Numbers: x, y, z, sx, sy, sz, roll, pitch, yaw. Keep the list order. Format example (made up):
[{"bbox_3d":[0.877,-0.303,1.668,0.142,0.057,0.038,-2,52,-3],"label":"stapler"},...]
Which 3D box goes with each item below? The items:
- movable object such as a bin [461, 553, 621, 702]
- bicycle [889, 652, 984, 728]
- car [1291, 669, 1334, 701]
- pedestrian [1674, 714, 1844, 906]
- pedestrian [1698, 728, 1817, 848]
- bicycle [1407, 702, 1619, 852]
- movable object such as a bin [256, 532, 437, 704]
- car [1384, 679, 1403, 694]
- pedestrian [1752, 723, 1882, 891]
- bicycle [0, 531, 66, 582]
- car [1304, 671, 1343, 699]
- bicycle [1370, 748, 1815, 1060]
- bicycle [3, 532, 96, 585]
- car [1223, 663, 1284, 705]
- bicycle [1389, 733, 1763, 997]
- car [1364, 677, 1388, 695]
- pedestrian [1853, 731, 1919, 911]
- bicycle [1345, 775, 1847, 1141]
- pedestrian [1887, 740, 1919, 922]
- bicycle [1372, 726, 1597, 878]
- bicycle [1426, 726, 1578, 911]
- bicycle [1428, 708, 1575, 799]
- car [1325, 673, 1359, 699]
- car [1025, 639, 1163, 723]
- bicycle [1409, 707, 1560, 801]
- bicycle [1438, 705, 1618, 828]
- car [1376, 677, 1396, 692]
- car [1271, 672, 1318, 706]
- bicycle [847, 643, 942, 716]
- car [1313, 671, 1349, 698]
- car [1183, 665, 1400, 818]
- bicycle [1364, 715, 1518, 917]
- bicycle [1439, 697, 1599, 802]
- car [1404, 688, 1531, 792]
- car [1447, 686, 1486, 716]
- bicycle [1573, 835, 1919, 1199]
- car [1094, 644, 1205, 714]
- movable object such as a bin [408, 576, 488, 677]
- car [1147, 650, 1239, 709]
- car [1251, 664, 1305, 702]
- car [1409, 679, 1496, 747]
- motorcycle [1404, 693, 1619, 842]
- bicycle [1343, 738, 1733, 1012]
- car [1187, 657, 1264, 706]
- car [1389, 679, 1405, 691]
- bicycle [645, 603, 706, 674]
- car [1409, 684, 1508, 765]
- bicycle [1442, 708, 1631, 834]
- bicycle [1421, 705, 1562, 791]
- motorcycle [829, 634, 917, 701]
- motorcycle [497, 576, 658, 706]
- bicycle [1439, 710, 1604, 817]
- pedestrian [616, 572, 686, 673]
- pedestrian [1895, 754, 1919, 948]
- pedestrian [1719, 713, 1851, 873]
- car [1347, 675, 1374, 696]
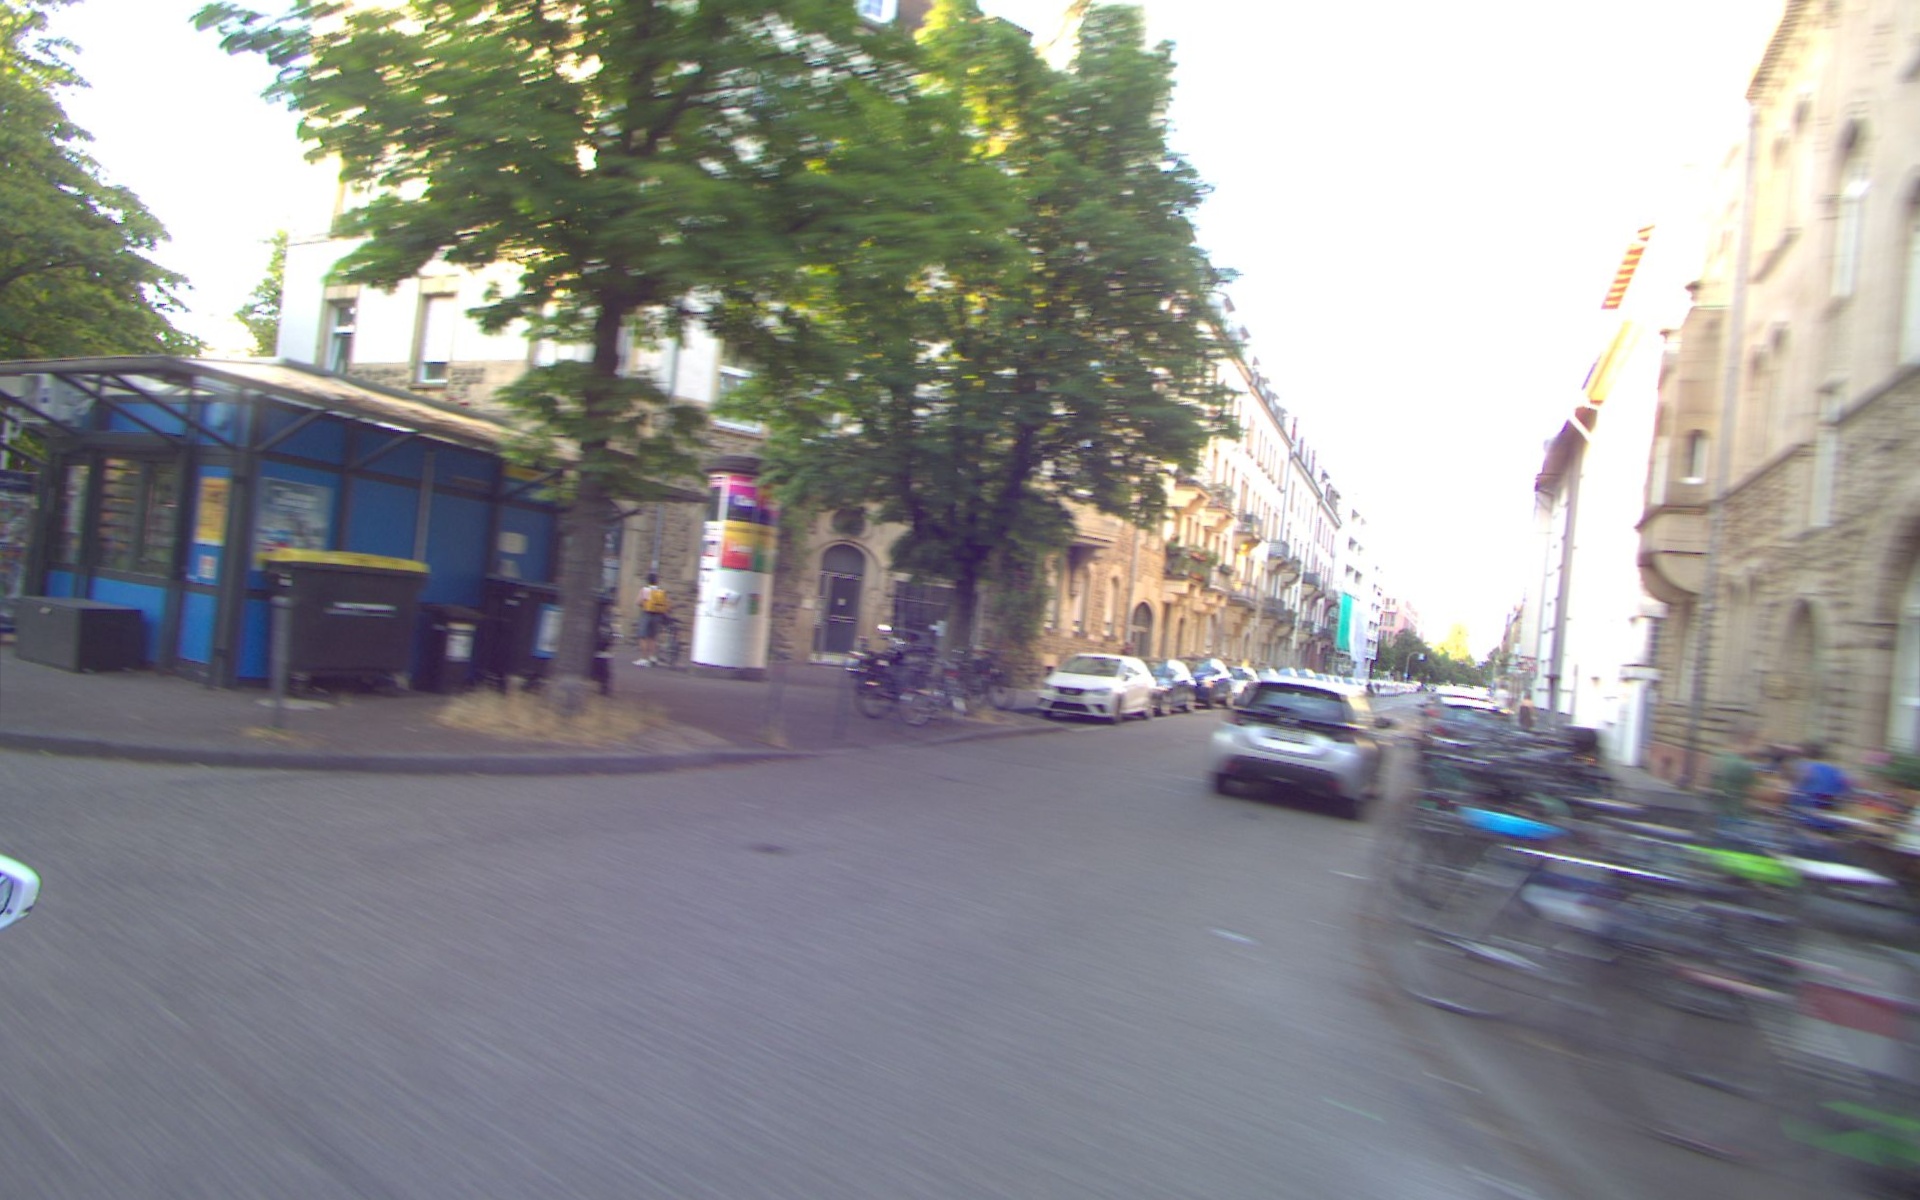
[{"bbox_3d":[-4.836,0.338,11.678,0.807,1.491,1.284,6,-4,35],"label":"movable object such as a bin"},{"bbox_3d":[-0.322,1.344,15.101,0.569,1.008,1.738,6,-1,27],"label":"bicycle"},{"bbox_3d":[20.313,4.918,57.868,1.794,1.500,4.128,6,-3,25],"label":"car"},{"bbox_3d":[6.804,1.756,8.611,0.779,1.421,0.716,6,0,10],"label":"pedestrian"},{"bbox_3d":[9.673,2.252,12.245,0.808,1.241,0.926,6,-1,23],"label":"pedestrian"},{"bbox_3d":[5.867,1.857,10.790,1.800,1.278,0.585,6,0,19],"label":"bicycle"},{"bbox_3d":[-5.847,0.168,9.629,0.754,1.495,1.221,6,2,35],"label":"movable object such as a bin"},{"bbox_3d":[54.526,10.867,126.438,1.794,1.500,4.127,6,-3,27],"label":"car"},{"bbox_3d":[8.125,1.929,9.575,0.758,1.413,0.617,4,-1,31],"label":"pedestrian"},{"bbox_3d":[-22.014,-1.041,23.657,1.577,1.052,0.432,6,0,5],"label":"bicycle"},{"bbox_3d":[22.766,5.333,62.904,1.794,1.500,4.128,6,-3,25],"label":"car"},{"bbox_3d":[3.193,1.460,5.231,1.808,1.079,0.511,6,-1,40],"label":"bicycle"},{"bbox_3d":[-21.716,-0.995,24.003,1.863,1.052,0.432,6,0,5],"label":"bicycle"},{"bbox_3d":[12.664,3.621,43.217,1.794,1.500,4.128,6,-3,25],"label":"car"},{"bbox_3d":[3.686,1.515,6.137,1.808,1.125,0.501,6,-1,40],"label":"bicycle"},{"bbox_3d":[41.654,8.615,100.592,1.794,1.500,4.127,6,-3,27],"label":"car"},{"bbox_3d":[7.926,1.814,8.181,0.724,1.374,0.592,6,0,23],"label":"pedestrian"},{"bbox_3d":[2.630,1.411,4.326,1.681,0.991,0.446,6,-1,40],"label":"bicycle"},{"bbox_3d":[7.601,1.782,7.532,0.655,1.337,0.731,6,0,23],"label":"pedestrian"},{"bbox_3d":[5.079,1.924,9.866,0.585,1.091,1.819,7,-1,-33],"label":"bicycle"},{"bbox_3d":[4.440,1.733,8.379,0.528,1.175,1.836,6,-1,13],"label":"bicycle"},{"bbox_3d":[8.058,2.265,15.043,1.801,1.041,0.545,6,0,24],"label":"bicycle"},{"bbox_3d":[27.333,6.161,71.917,1.794,1.500,4.128,6,-3,25],"label":"car"},{"bbox_3d":[3.089,1.831,22.445,1.794,1.500,3.907,6,-3,26],"label":"car"},{"bbox_3d":[7.513,2.197,14.509,1.801,1.041,0.545,6,0,24],"label":"bicycle"},{"bbox_3d":[7.060,2.046,12.591,1.801,1.209,0.545,6,0,24],"label":"bicycle"},{"bbox_3d":[49.732,9.866,117.349,1.794,1.500,4.127,6,-3,27],"label":"car"},{"bbox_3d":[17.706,4.739,53.128,1.794,1.500,4.128,6,-3,25],"label":"car"},{"bbox_3d":[-0.973,1.217,15.452,0.569,1.008,1.738,6,-1,27],"label":"bicycle"},{"bbox_3d":[24.842,5.698,67.303,1.794,1.500,4.128,6,-3,25],"label":"car"},{"bbox_3d":[4.357,1.673,12.783,1.852,1.400,4.033,6,-2,28],"label":"car"},{"bbox_3d":[3.587,1.547,7.653,0.547,1.165,1.836,6,-1,13],"label":"bicycle"},{"bbox_3d":[7.767,2.054,14.070,1.801,1.152,0.591,6,0,23],"label":"bicycle"},{"bbox_3d":[9.522,2.552,18.856,1.795,1.500,3.905,6,-3,28],"label":"car"},{"bbox_3d":[30.263,6.023,60.104,1.795,1.501,3.902,6,-1,29],"label":"car"},{"bbox_3d":[2.567,1.365,2.837,0.425,1.052,1.472,6,-1,-14],"label":"bicycle"},{"bbox_3d":[5.106,2.129,26.715,1.794,1.500,4.004,6,-3,26],"label":"car"},{"bbox_3d":[-5.448,0.287,10.711,0.479,1.014,0.481,6,0,28],"label":"movable object such as a bin"},{"bbox_3d":[7.337,2.519,31.393,1.794,1.500,3.907,6,-3,27],"label":"car"},{"bbox_3d":[15.185,3.963,47.943,1.794,1.500,4.128,6,-3,25],"label":"car"},{"bbox_3d":[13.591,3.108,27.661,1.795,1.500,3.904,6,-3,30],"label":"car"},{"bbox_3d":[6.177,1.845,11.399,1.965,1.369,0.640,5,-1,21],"label":"motorcycle"},{"bbox_3d":[3.259,1.482,5.807,1.808,1.083,0.474,6,-1,40],"label":"bicycle"},{"bbox_3d":[9.943,3.068,37.488,1.795,1.500,4.073,6,-3,28],"label":"car"},{"bbox_3d":[62.308,12.125,143.522,1.794,1.500,4.127,6,-3,27],"label":"car"},{"bbox_3d":[-5.558,0.727,19.594,0.628,1.202,1.900,5,0,-29],"label":"bicycle"},{"bbox_3d":[11.694,2.876,23.604,1.795,1.500,3.906,6,-3,27],"label":"car"},{"bbox_3d":[6.838,2.009,12.027,1.801,1.175,0.545,6,0,24],"label":"bicycle"},{"bbox_3d":[8.234,2.278,15.660,1.801,1.041,0.545,6,0,24],"label":"bicycle"},{"bbox_3d":[-1.515,1.210,17.845,0.569,1.066,1.831,6,-1,27],"label":"motorcycle"},{"bbox_3d":[-5.076,0.538,13.345,1.849,1.471,0.869,6,0,28],"label":"motorcycle"},{"bbox_3d":[7.530,2.172,13.579,1.801,1.120,0.545,6,0,24],"label":"bicycle"},{"bbox_3d":[-5.913,0.414,19.228,0.968,1.811,0.999,5,0,-28],"label":"pedestrian"},{"bbox_3d":[6.953,1.749,6.623,0.862,1.298,0.706,6,0,22],"label":"pedestrian"},{"bbox_3d":[8.470,1.949,10.372,0.701,1.442,0.902,6,0,23],"label":"pedestrian"},{"bbox_3d":[34.521,7.398,86.695,1.794,1.500,4.128,6,-3,25],"label":"car"}]
